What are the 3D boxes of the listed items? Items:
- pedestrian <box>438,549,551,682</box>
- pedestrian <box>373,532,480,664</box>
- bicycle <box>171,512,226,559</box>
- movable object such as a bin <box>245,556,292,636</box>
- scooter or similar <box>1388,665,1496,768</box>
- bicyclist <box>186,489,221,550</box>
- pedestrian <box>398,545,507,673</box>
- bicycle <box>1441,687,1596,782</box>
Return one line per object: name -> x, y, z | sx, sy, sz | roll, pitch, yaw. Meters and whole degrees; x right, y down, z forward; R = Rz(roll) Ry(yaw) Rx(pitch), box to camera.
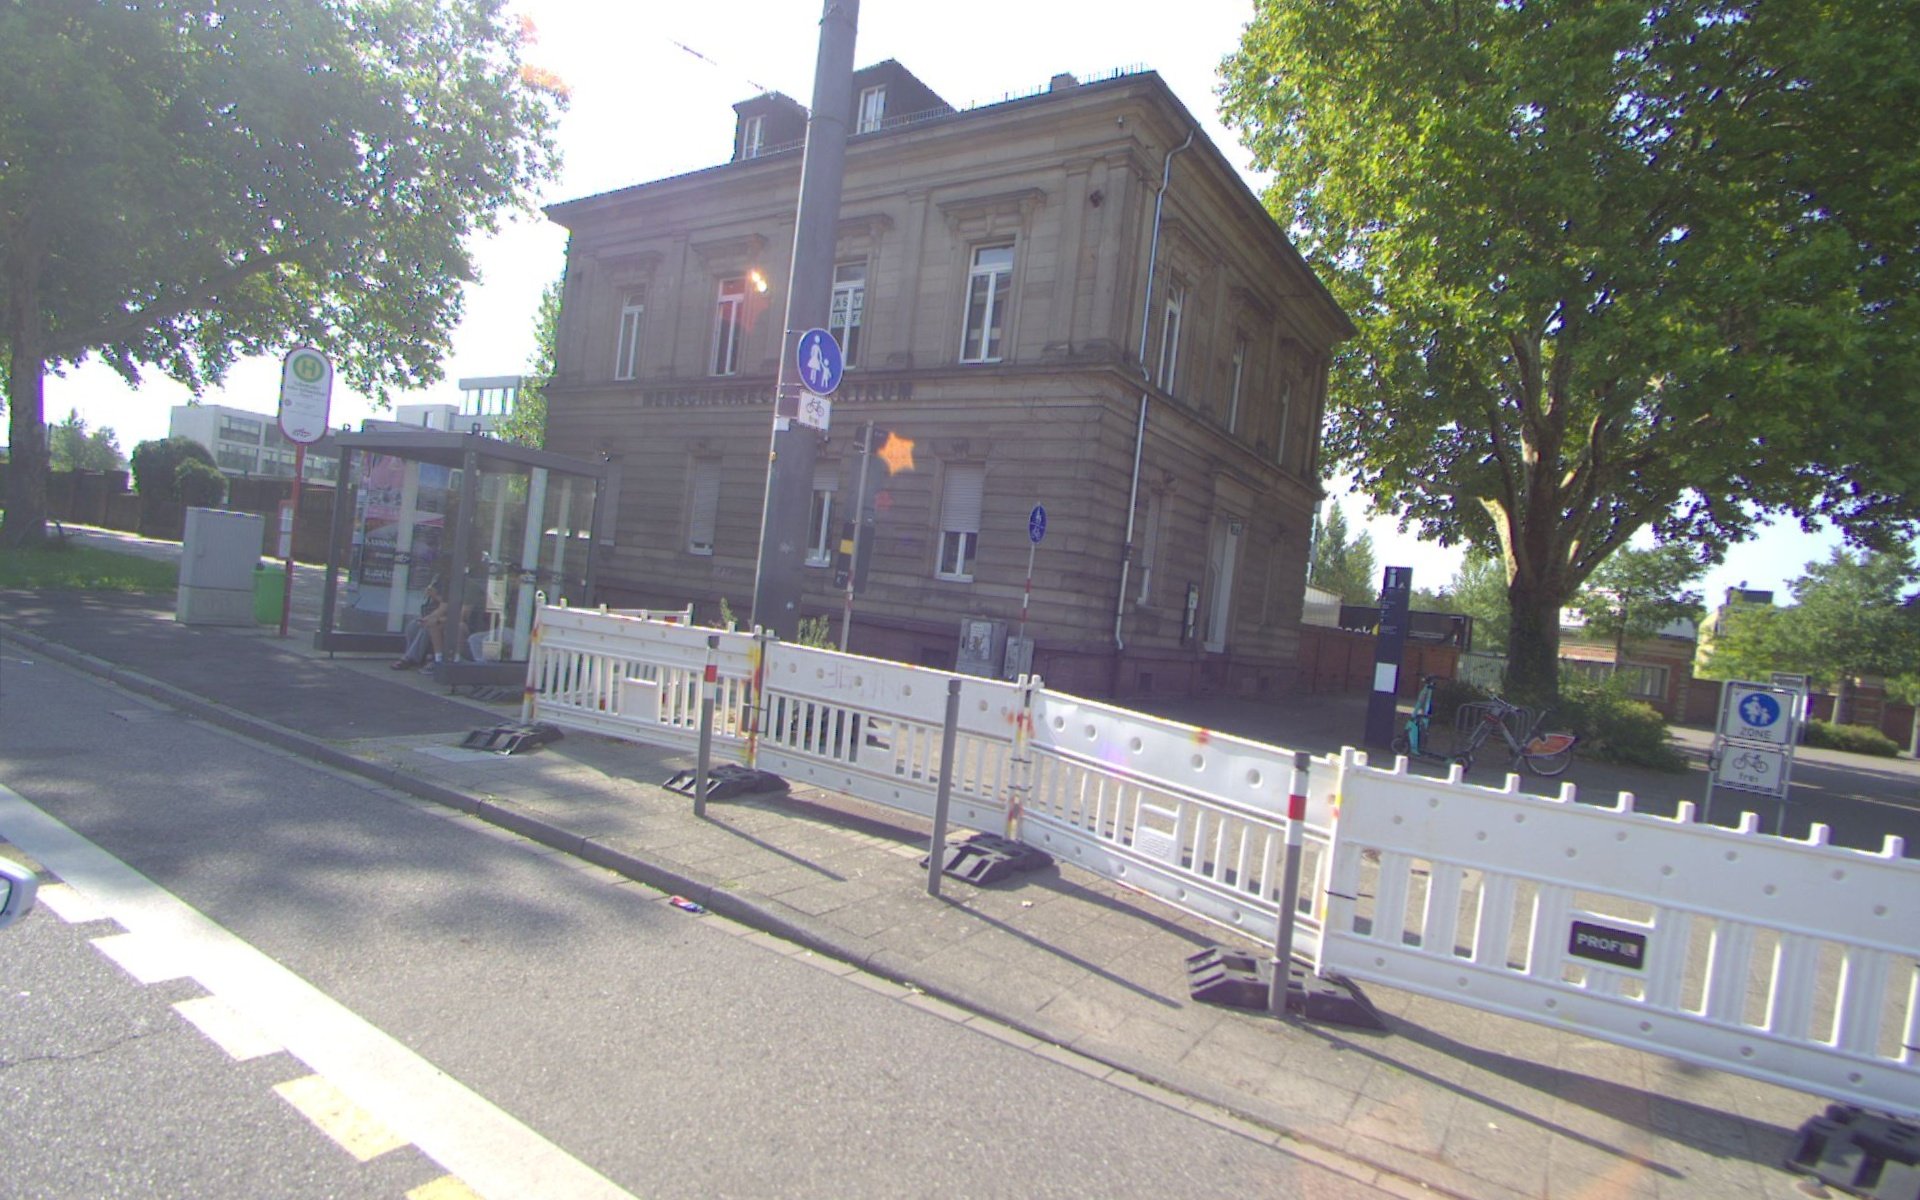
pedestrian -> -4.835, 0.170, 10.465 | 0.602, 1.276, 0.741 | 6, -1, 34
pedestrian -> -5.987, -0.015, 11.307 | 0.602, 1.382, 0.751 | 6, -1, 34
bicycle -> -20.876, -1.773, 27.568 | 1.826, 1.103, 0.491 | 7, 1, 32
movable object such as a bin -> -8.434, -0.047, 12.267 | 0.380, 0.927, 0.271 | 7, 2, 32
scooter or similar -> 6.731, 1.613, 14.075 | 1.157, 1.244, 0.424 | 8, 2, 42
bicyclist -> -20.661, -2.201, 27.462 | 0.586, 1.559, 0.469 | 7, 2, 31
pedestrian -> -5.487, 0.105, 10.887 | 0.602, 1.276, 0.741 | 6, -1, 34
bicycle -> 8.140, 1.953, 14.730 | 1.784, 1.012, 0.493 | 9, 2, 15
